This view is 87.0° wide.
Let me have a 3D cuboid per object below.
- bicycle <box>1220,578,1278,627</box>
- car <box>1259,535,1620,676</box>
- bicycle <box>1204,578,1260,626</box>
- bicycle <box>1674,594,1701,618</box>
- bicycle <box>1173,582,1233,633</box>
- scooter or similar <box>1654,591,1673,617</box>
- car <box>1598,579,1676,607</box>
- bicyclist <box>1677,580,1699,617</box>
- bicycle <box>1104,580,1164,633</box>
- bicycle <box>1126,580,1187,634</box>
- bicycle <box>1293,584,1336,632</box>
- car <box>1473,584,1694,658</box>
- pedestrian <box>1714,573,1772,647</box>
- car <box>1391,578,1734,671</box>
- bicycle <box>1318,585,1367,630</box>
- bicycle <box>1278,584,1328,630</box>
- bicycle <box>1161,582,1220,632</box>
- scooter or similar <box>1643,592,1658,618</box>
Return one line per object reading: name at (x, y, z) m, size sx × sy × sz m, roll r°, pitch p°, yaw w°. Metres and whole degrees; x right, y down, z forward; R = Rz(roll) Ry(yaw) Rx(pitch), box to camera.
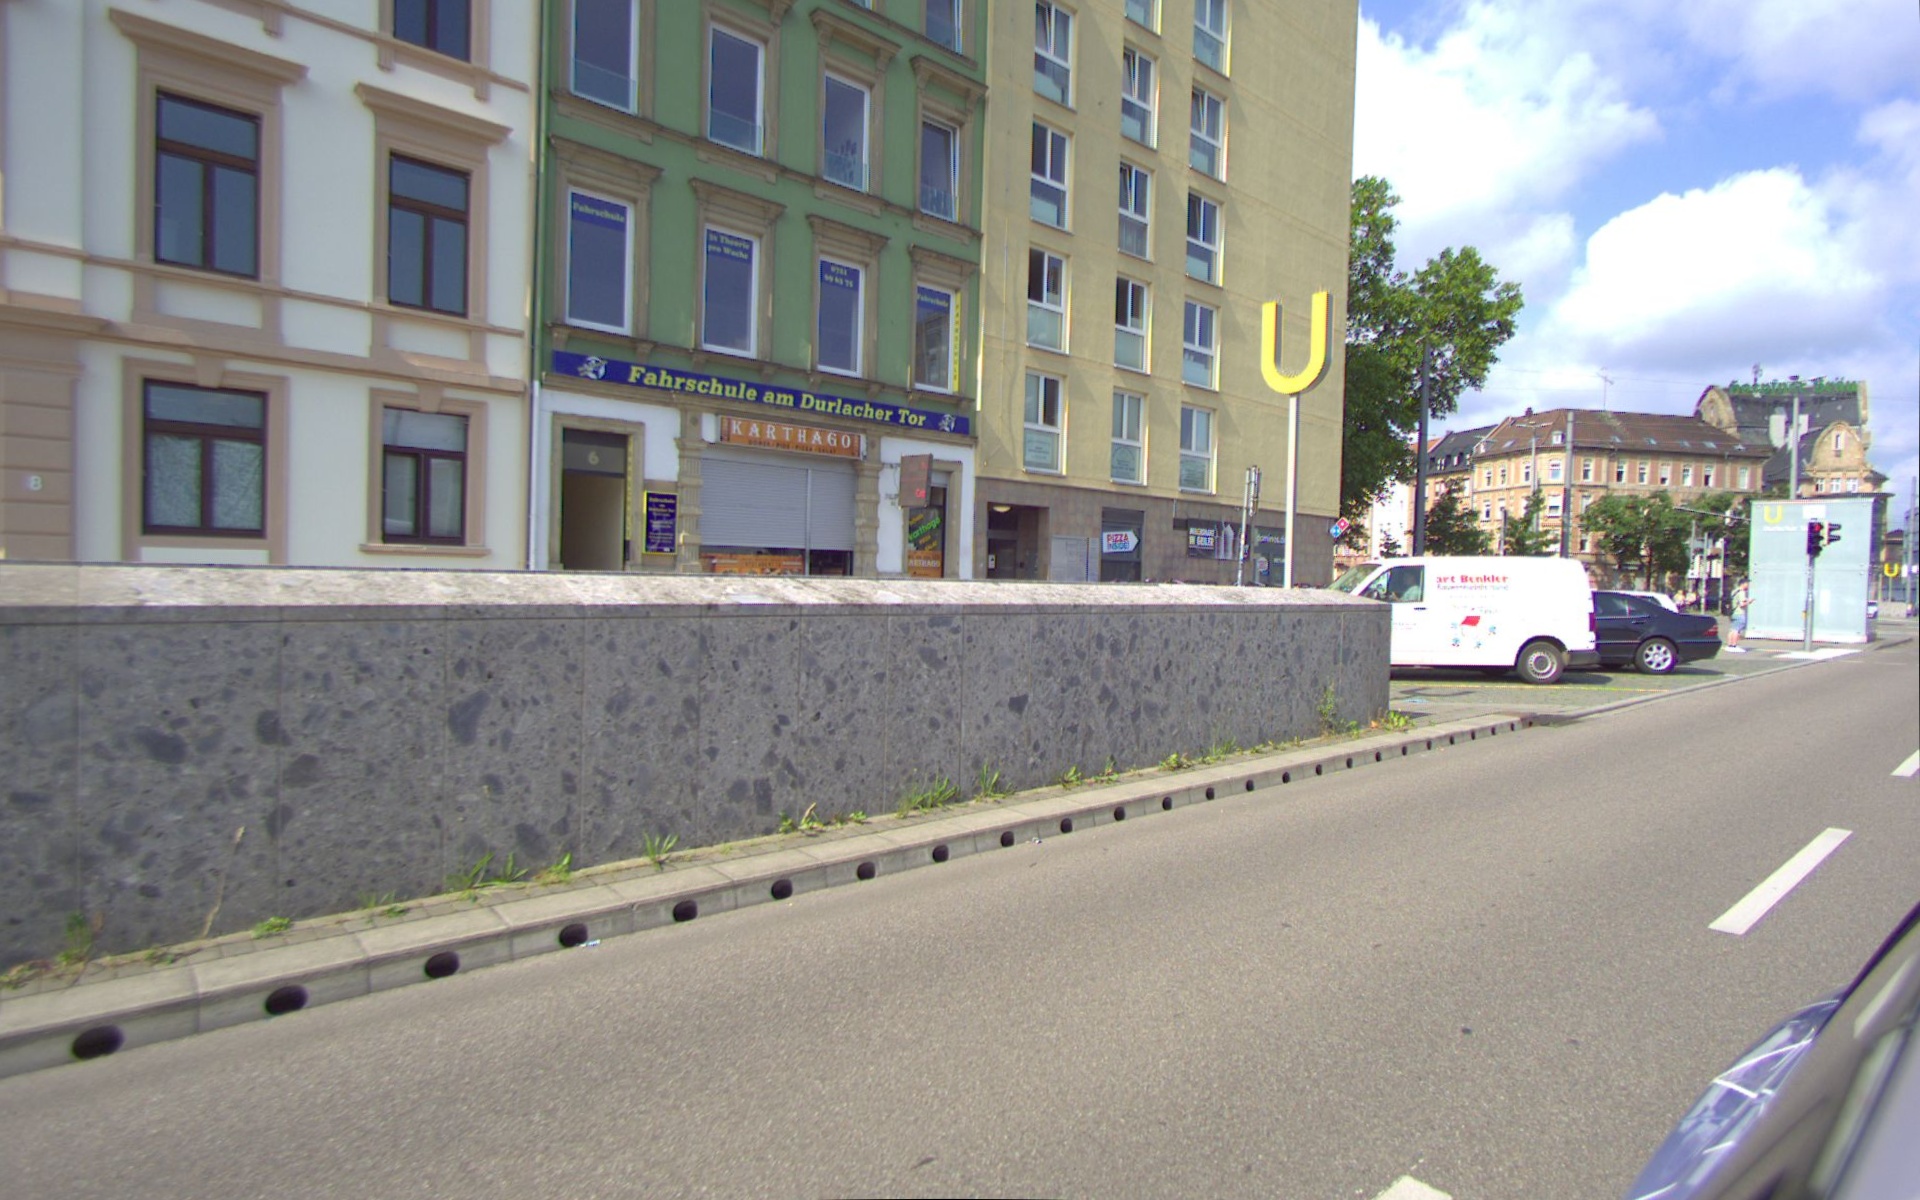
bicycle at (7.492, 0.059, 26.252) m, size 1.614 × 1.216 × 0.549 m, roll 0°, pitch 1°, yaw -36°
car at (7.523, 0.074, 16.341) m, size 4.812 × 2.111 × 2.077 m, roll 0°, pitch -1°, yaw 5°
bicycle at (7.197, 0.056, 26.733) m, size 1.614 × 1.216 × 0.488 m, roll 0°, pitch 1°, yaw -36°
bicycle at (35.844, 0.278, 49.857) m, size 0.787 × 1.141 × 1.961 m, roll 3°, pitch 2°, yaw 43°
bicycle at (6.030, 0.187, 25.080) m, size 1.614 × 1.216 × 0.488 m, roll 0°, pitch 1°, yaw -36°
scooter or similar at (33.219, 0.196, 47.800) m, size 0.375 × 1.172 × 0.927 m, roll 1°, pitch 1°, yaw 10°
car at (42.177, -0.445, 63.172) m, size 1.789 × 1.531 × 4.007 m, roll -3°, pitch 2°, yaw -8°
bicyclist at (35.850, -0.073, 49.845) m, size 0.710 × 1.766 × 0.815 m, roll 3°, pitch 1°, yaw 44°
bicycle at (4.141, 0.143, 24.006) m, size 1.617 × 1.216 × 0.487 m, roll 0°, pitch 1°, yaw -41°
bicycle at (4.602, 0.155, 23.667) m, size 1.617 × 1.216 × 0.487 m, roll 0°, pitch 1°, yaw -41°
bicycle at (9.994, 0.218, 28.495) m, size 0.486 × 1.288 × 1.862 m, roll 2°, pitch 1°, yaw 41°
car at (12.750, 0.409, 20.893) m, size 3.454 × 1.459 × 1.715 m, roll 0°, pitch 0°, yaw 9°
pedestrian at (19.437, 0.240, 25.144) m, size 0.985 × 1.781 × 0.779 m, roll -1°, pitch 2°, yaw 26°
car at (10.791, 0.389, 18.503) m, size 4.979 × 1.487 × 1.887 m, roll 1°, pitch 1°, yaw 8°
bicycle at (11.238, 0.212, 29.700) m, size 1.614 × 1.288 × 0.531 m, roll 0°, pitch 1°, yaw -36°
bicycle at (9.876, 0.199, 29.124) m, size 1.614 × 1.288 × 0.488 m, roll 0°, pitch 1°, yaw -36°
bicycle at (5.849, 0.175, 25.623) m, size 1.614 × 1.216 × 0.488 m, roll 0°, pitch 1°, yaw -36°
scooter or similar at (32.640, 0.225, 47.854) m, size 0.377 × 1.172 × 0.923 m, roll 1°, pitch 2°, yaw 22°
